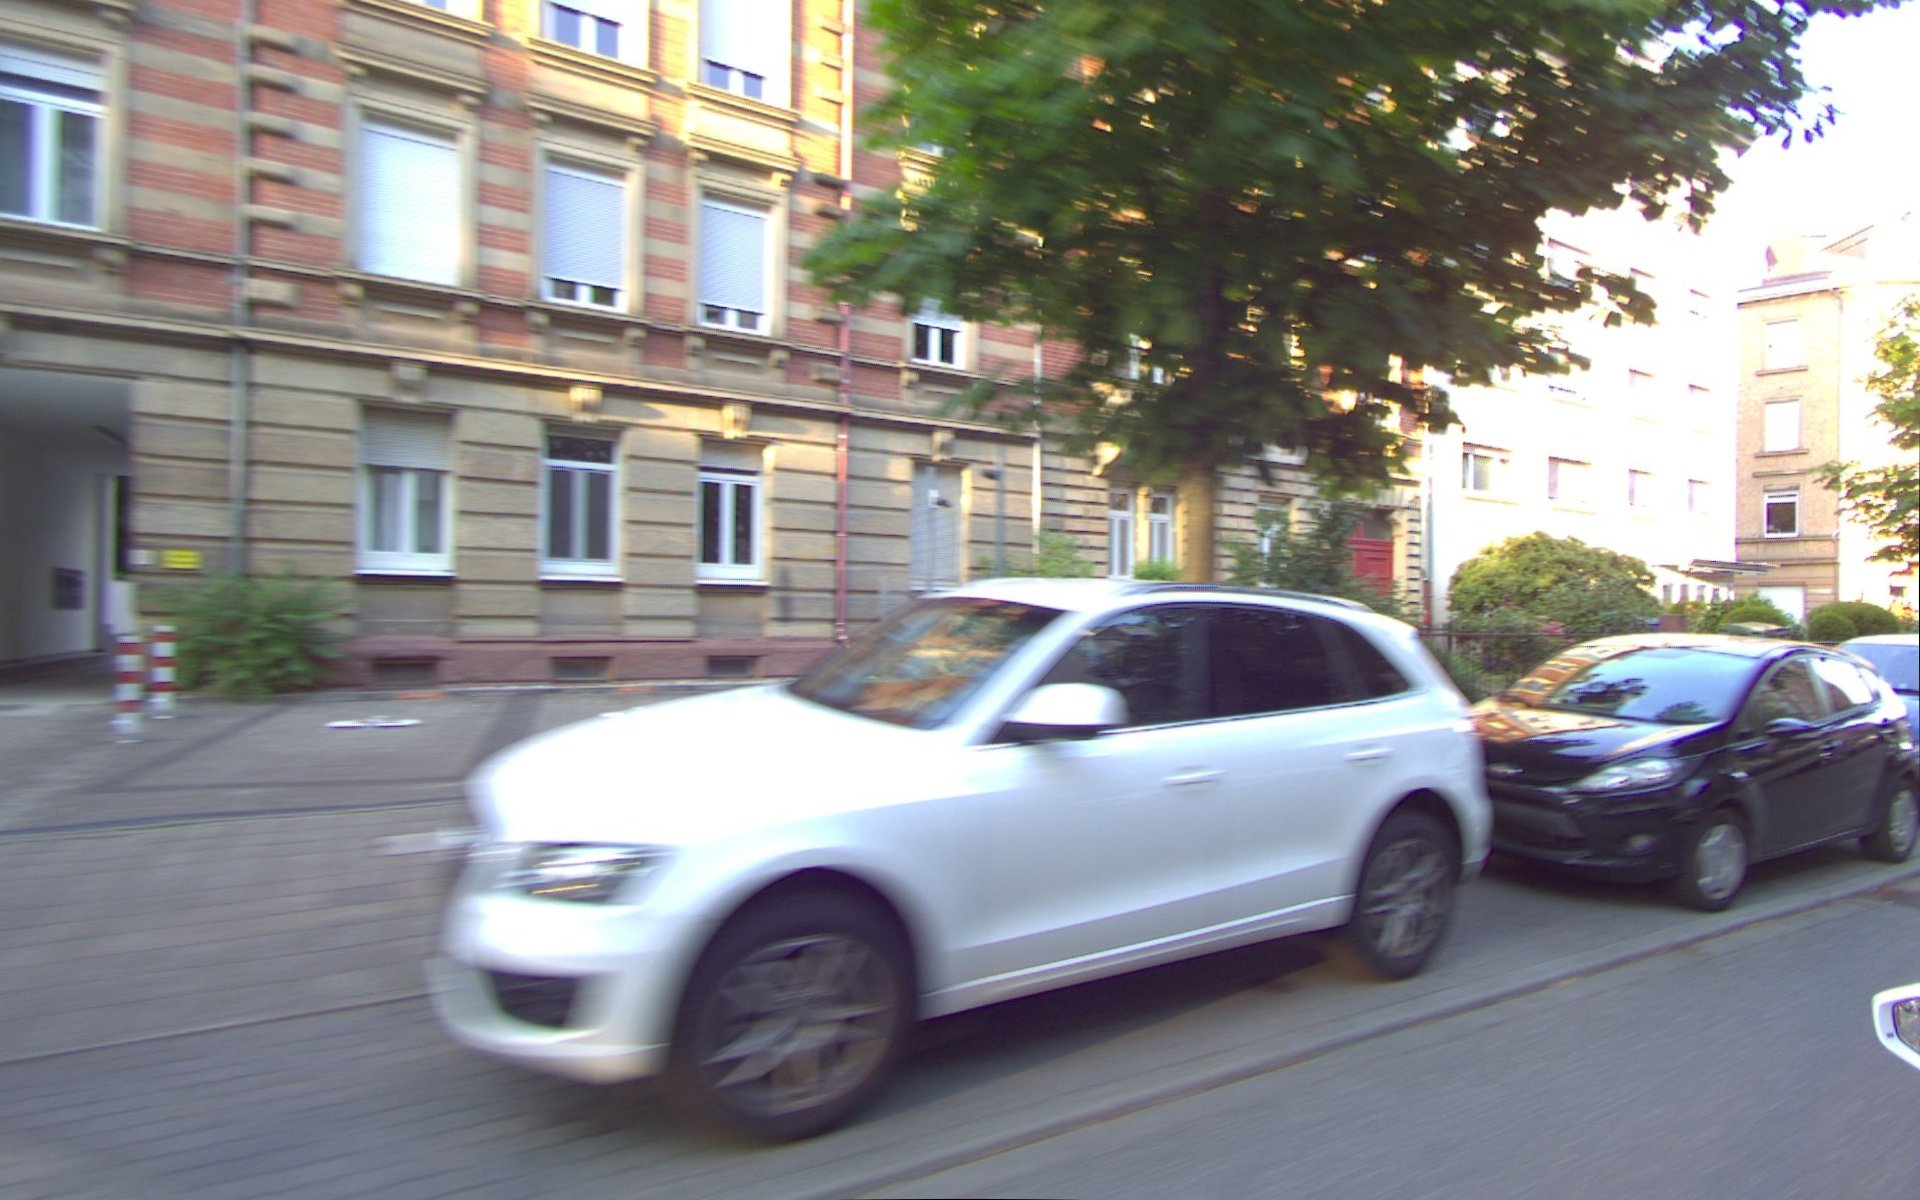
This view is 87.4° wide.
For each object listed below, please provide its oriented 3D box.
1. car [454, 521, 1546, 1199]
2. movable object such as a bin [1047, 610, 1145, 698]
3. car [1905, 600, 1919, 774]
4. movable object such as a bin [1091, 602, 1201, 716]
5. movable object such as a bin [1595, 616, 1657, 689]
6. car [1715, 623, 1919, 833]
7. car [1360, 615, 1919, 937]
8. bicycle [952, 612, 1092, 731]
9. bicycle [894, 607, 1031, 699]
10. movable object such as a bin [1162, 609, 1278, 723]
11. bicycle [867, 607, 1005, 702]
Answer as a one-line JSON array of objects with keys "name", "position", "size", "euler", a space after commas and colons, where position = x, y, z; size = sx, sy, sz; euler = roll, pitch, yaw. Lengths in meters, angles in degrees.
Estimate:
[{"name": "car", "position": [0.325, 0.714, 4.316], "size": [4.375, 1.740, 1.912], "euler": [1, -1, -30]}, {"name": "movable object such as a bin", "position": [2.069, 0.796, 15.322], "size": [0.998, 1.225, 1.086], "euler": [-1, 2, -43]}, {"name": "car", "position": [12.209, 0.930, 10.937], "size": [4.166, 1.814, 1.708], "euler": [1, -1, -30]}, {"name": "movable object such as a bin", "position": [2.544, 0.767, 13.736], "size": [0.998, 1.433, 1.086], "euler": [-1, 2, -43]}, {"name": "movable object such as a bin", "position": [13.272, 1.034, 20.032], "size": [0.695, 1.381, 0.733], "euler": [1, 2, -23]}, {"name": "car", "position": [8.716, 1.014, 9.099], "size": [3.743, 1.587, 1.708], "euler": [1, -1, -30]}, {"name": "car", "position": [4.617, 0.933, 6.673], "size": [3.737, 1.587, 1.708], "euler": [2, -1, -30]}, {"name": "bicycle", "position": [0.693, 0.813, 12.428], "size": [0.634, 1.208, 2.522], "euler": [0, 2, -23]}, {"name": "bicycle", "position": [-0.018, 0.756, 15.406], "size": [0.638, 1.208, 2.507], "euler": [0, 2, -40]}, {"name": "movable object such as a bin", "position": [3.282, 0.803, 12.742], "size": [0.991, 1.339, 1.010], "euler": [0, 2, -25]}, {"name": "bicycle", "position": [-0.409, 0.757, 15.064], "size": [0.638, 1.208, 2.507], "euler": [0, 2, -40]}]
